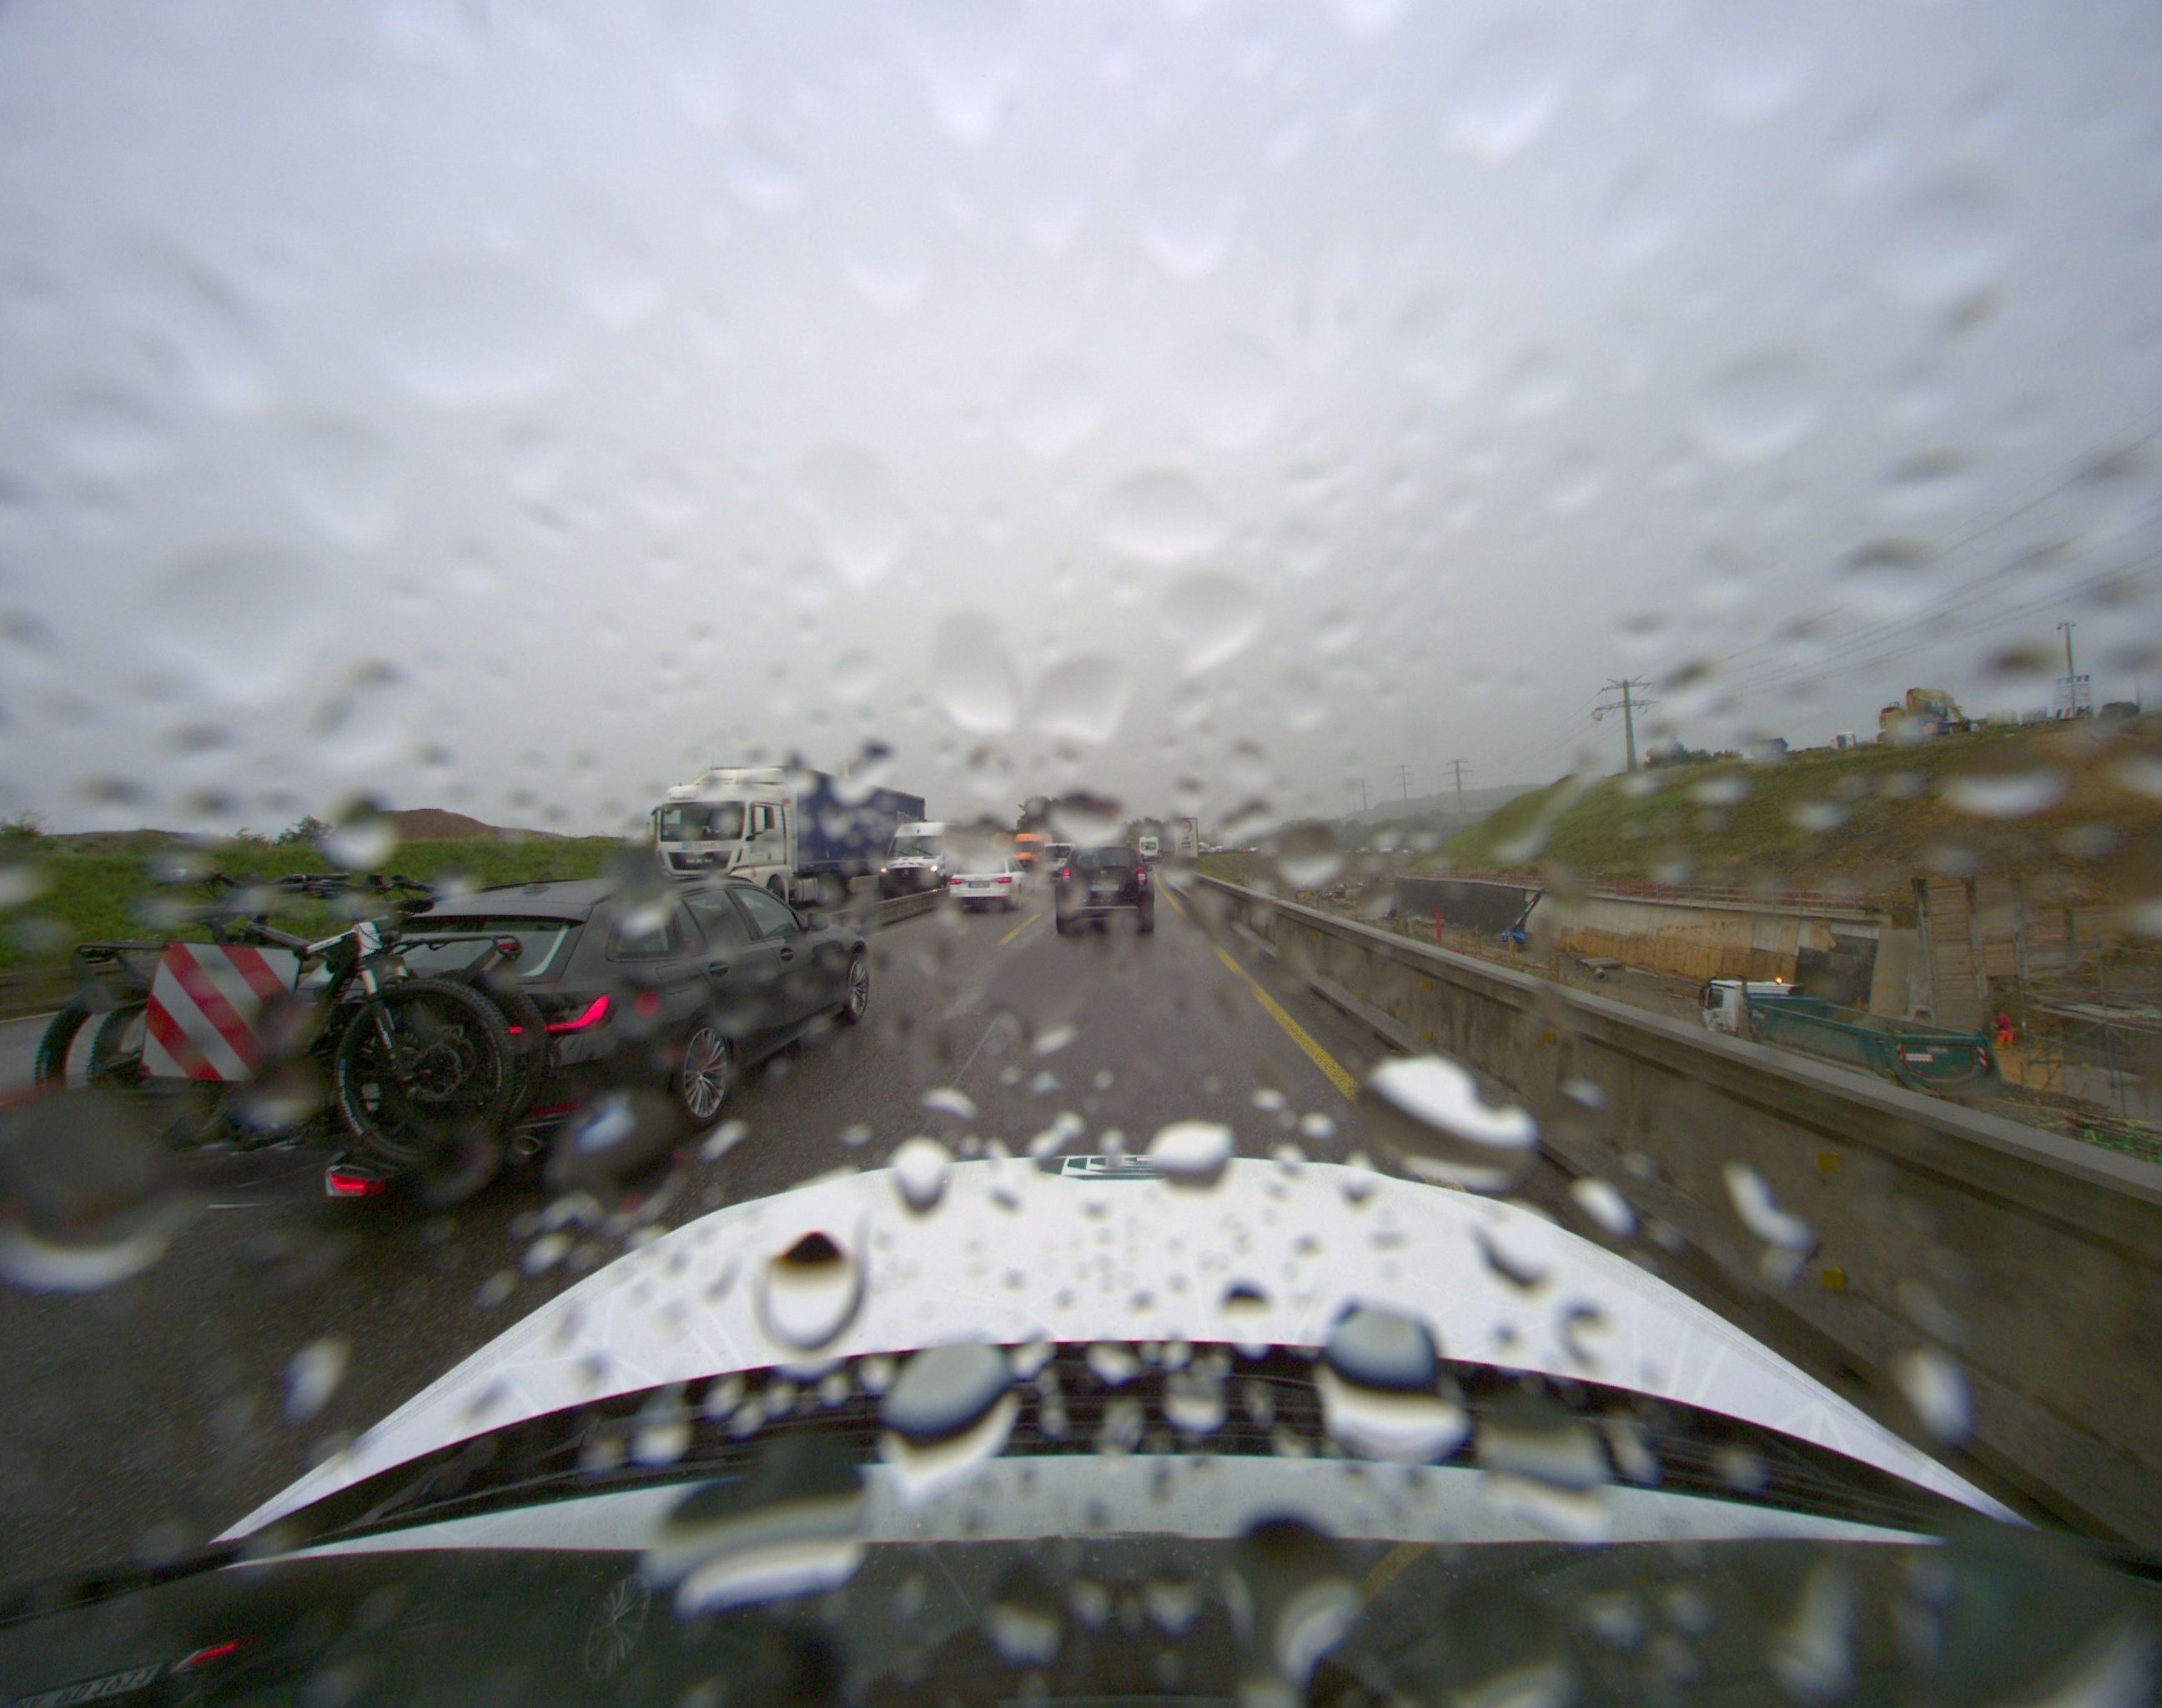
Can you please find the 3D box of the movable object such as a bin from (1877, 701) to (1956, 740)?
[{"bbox_3d":[64.632,-10.288,63.123,2.414,2.443,3.980,-1,2,9],"label":"movable object such as a bin"}]

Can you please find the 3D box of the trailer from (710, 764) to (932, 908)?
[{"bbox_3d":[-8.626,-0.644,29.897,2.767,4.034,13.757,-1,1,4],"label":"trailer"}]

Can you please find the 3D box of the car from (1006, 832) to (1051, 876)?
[{"bbox_3d":[-3.211,-0.032,51.509,2.046,2.577,7.025,-1,1,2],"label":"car"}]

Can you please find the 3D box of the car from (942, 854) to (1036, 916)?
[{"bbox_3d":[-2.386,0.776,22.102,1.818,1.499,4.004,-1,0,3],"label":"car"}]

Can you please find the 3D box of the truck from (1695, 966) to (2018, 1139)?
[{"bbox_3d":[24.496,6.017,26.699,2.715,3.490,9.081,-1,0,7],"label":"truck"}]

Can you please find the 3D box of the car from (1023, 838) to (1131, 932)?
[{"bbox_3d":[0.043,0.547,16.042,1.818,1.591,4.004,-1,0,4],"label":"car"}]

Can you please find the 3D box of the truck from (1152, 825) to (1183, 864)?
[{"bbox_3d":[12.173,-1.280,113.376,3.522,5.077,10.469,-1,0,10],"label":"truck"}]

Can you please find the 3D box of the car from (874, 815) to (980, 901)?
[{"bbox_3d":[-5.240,0.059,28.849,1.997,2.653,6.891,-1,1,3],"label":"car"}]

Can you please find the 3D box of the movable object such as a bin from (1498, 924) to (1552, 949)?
[{"bbox_3d":[40.724,7.528,74.787,2.008,2.014,3.800,2,-4,-34],"label":"movable object such as a bin"}]

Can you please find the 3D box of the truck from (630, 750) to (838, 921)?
[{"bbox_3d":[-9.160,-0.480,22.338,2.776,4.034,5.827,-1,1,4],"label":"truck"}]

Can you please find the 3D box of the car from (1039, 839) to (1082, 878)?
[{"bbox_3d":[-0.955,0.228,40.081,1.819,1.815,4.002,-1,0,2],"label":"car"}]

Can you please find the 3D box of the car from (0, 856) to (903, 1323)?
[{"bbox_3d":[-2.890,0.869,5.743,1.728,1.462,5.634,-1,2,3],"label":"car"}]

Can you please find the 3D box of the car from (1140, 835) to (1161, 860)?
[{"bbox_3d":[7.276,-0.661,84.885,1.815,2.437,4.169,-1,0,10],"label":"car"}]

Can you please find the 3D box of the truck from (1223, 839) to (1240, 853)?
[{"bbox_3d":[42.093,-2.344,227.763,3.444,3.715,8.457,-2,1,18],"label":"truck"}]

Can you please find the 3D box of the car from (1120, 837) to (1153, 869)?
[{"bbox_3d":[3.360,-0.029,48.582,1.817,1.815,4.006,-1,0,5],"label":"car"}]
